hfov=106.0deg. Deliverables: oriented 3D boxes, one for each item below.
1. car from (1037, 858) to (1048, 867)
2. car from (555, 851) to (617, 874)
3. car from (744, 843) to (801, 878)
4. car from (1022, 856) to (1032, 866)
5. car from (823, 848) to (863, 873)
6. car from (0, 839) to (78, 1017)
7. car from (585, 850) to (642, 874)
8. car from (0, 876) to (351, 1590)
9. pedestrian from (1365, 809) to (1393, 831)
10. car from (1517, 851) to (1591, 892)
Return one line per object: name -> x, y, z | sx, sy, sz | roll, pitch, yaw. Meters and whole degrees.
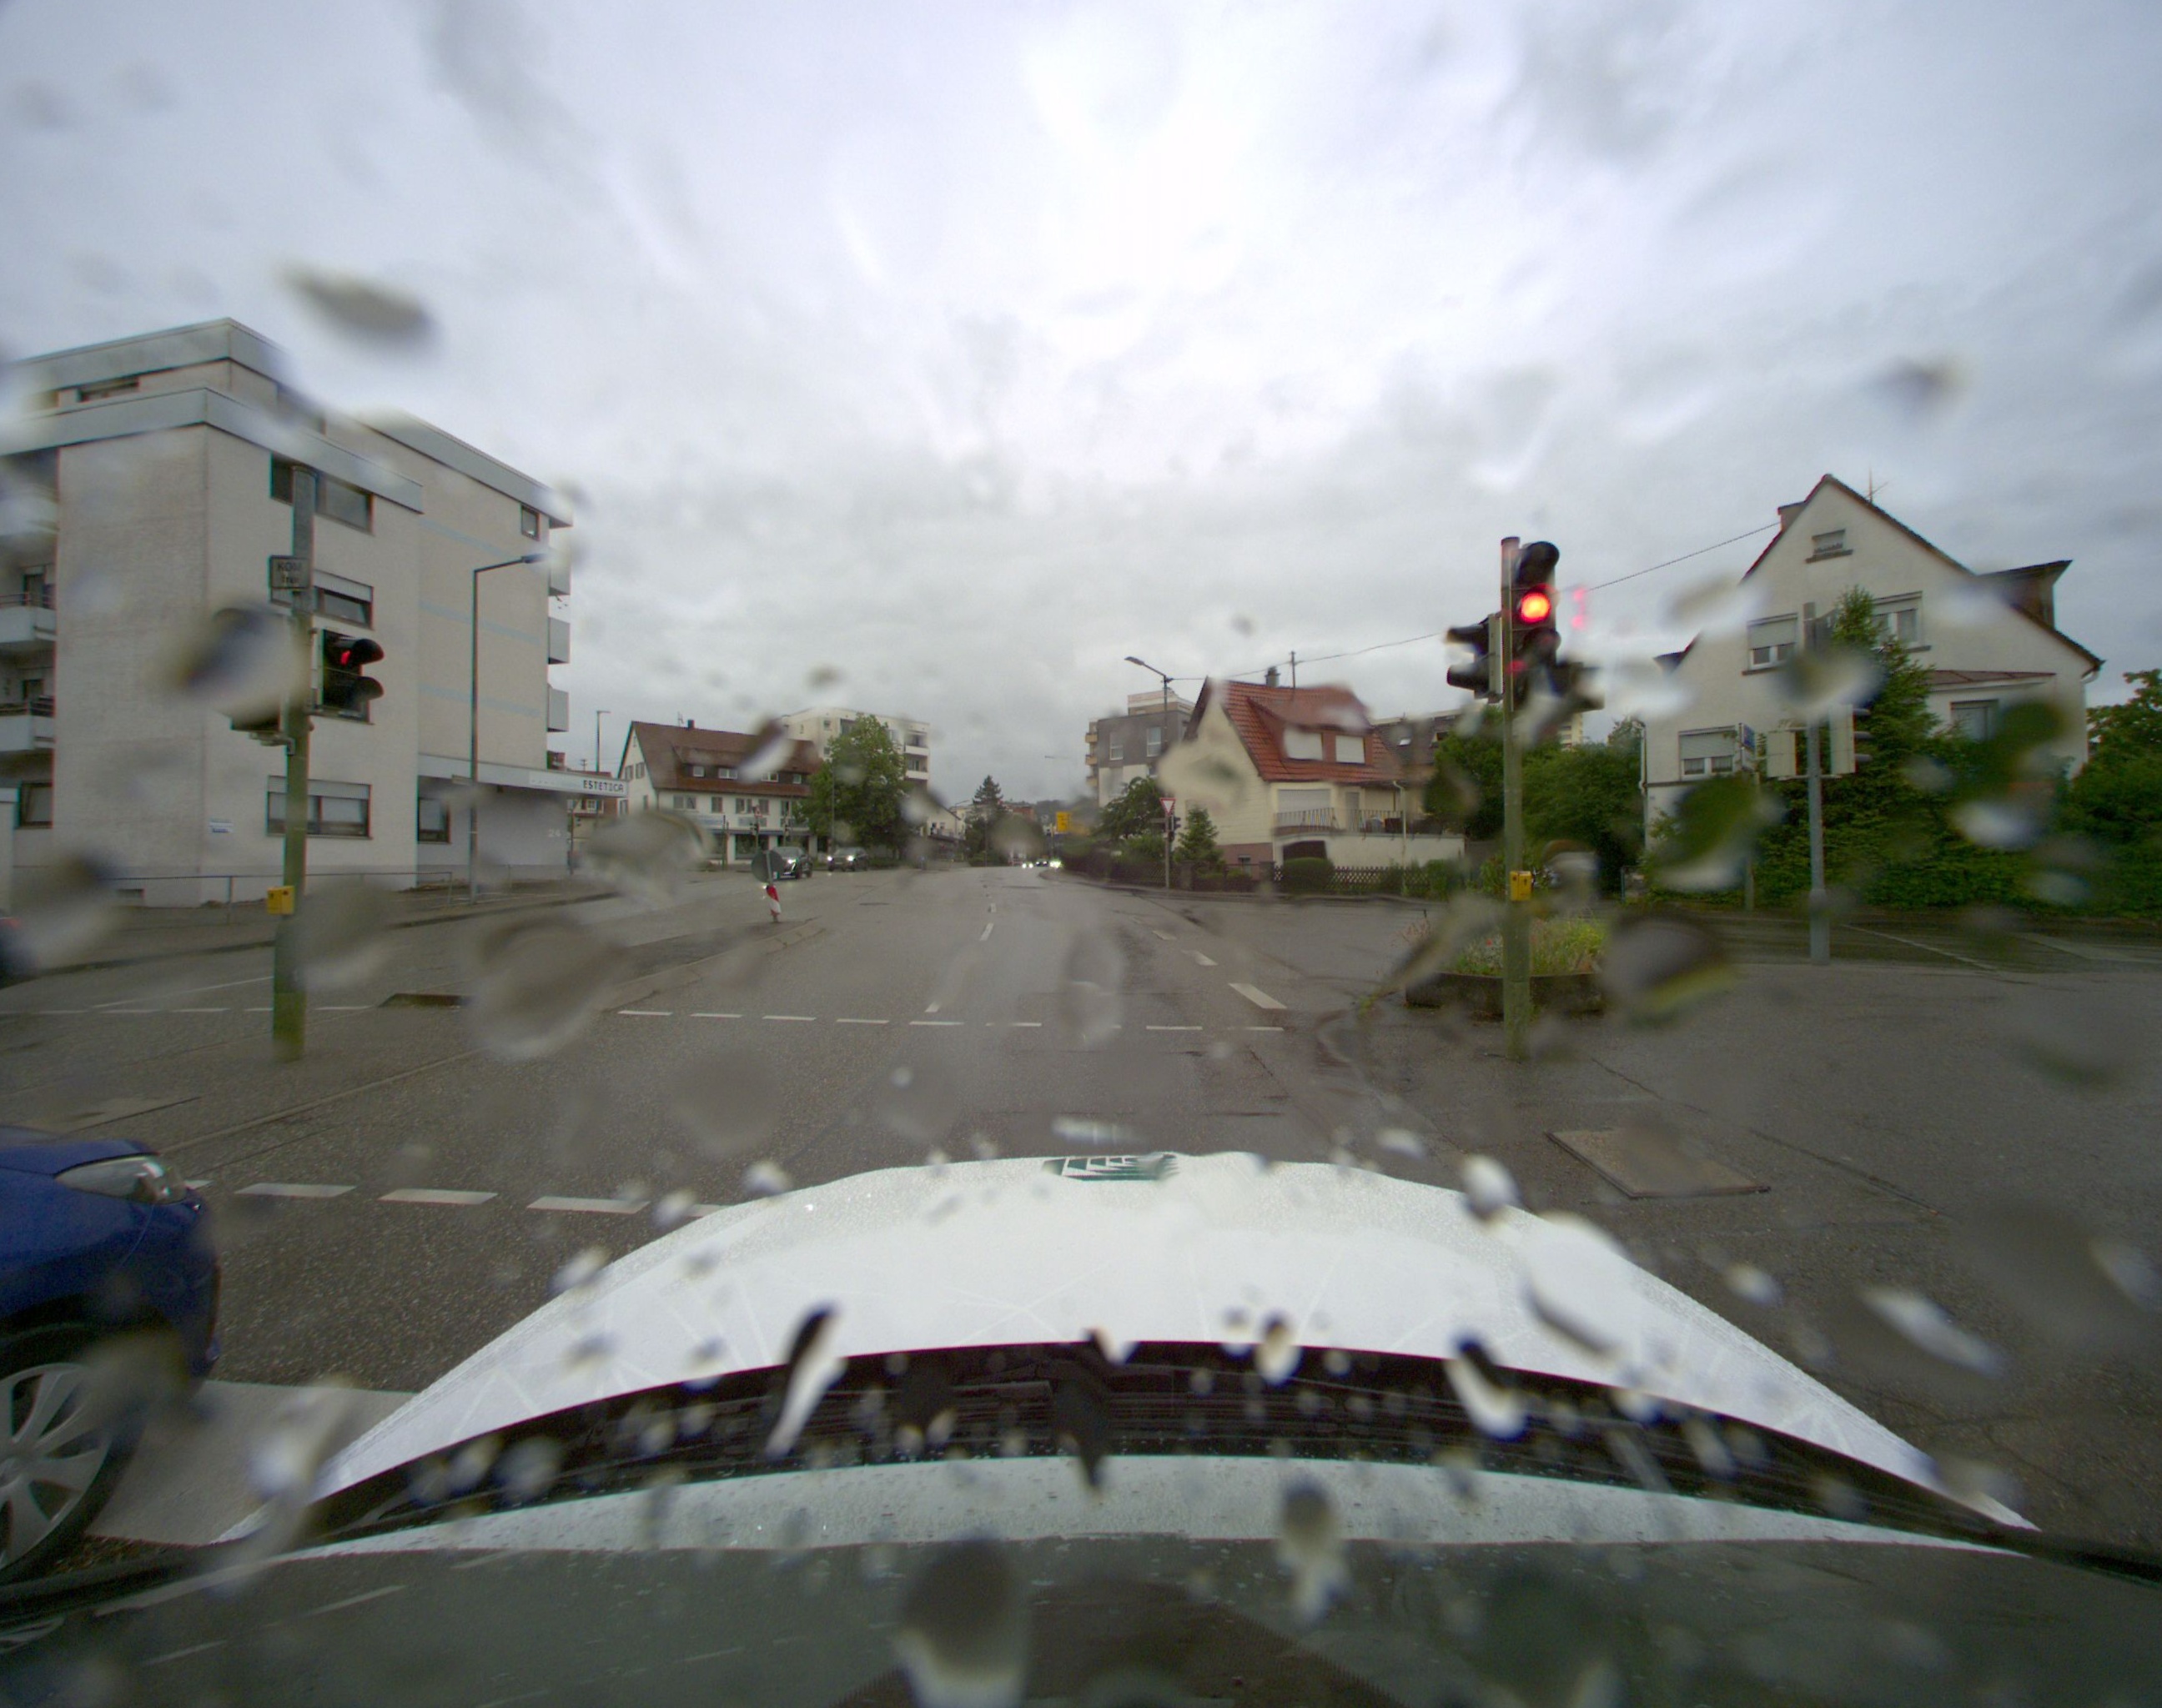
car -> -7.562, 1.635, 159.273 | 1.990, 1.737, 5.173 | 0, 0, -4
car -> -41.220, 0.668, 67.810 | 4.093, 1.843, 1.864 | 0, -1, -44
car -> -14.320, 0.301, 38.055 | 1.969, 1.512, 3.982 | 0, -1, -13
car -> -11.012, 1.460, 166.866 | 1.989, 1.904, 3.996 | 0, -1, -3
car -> -15.965, 0.464, 54.877 | 1.877, 1.597, 4.174 | 0, -1, -7
car -> -10.815, 0.669, 5.696 | 1.988, 1.625, 4.536 | 0, 0, -1
car -> -38.446, 0.628, 66.987 | 3.706, 1.920, 1.864 | 0, -1, -44
car -> -2.959, 0.784, 0.732 | 1.499, 1.413, 3.365 | 0, 0, 2
pedestrian -> 12.764, -1.442, 34.862 | 0.918, 0.883, 0.632 | 0, -3, -18
car -> 17.105, 0.589, 29.376 | 1.794, 1.362, 4.025 | -1, -1, 37
